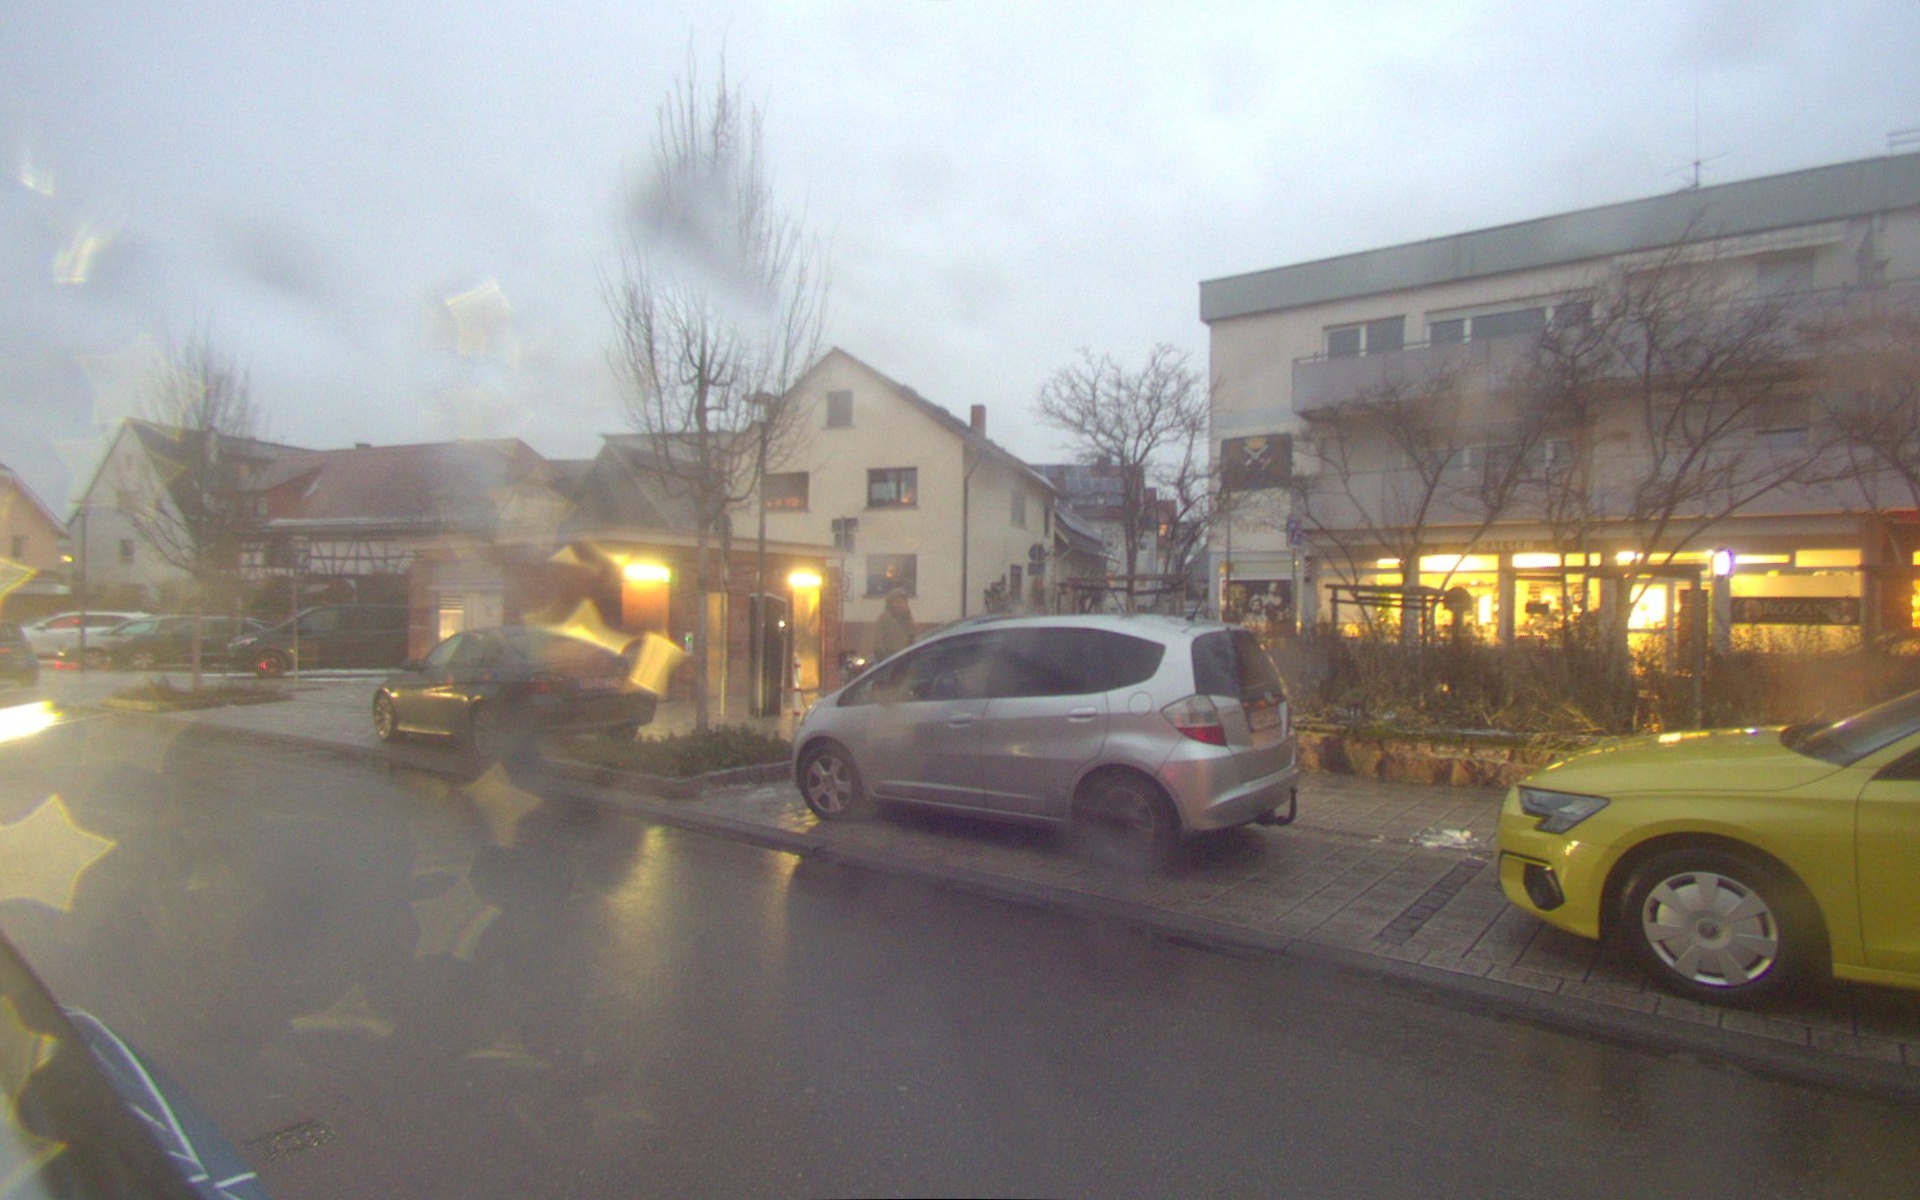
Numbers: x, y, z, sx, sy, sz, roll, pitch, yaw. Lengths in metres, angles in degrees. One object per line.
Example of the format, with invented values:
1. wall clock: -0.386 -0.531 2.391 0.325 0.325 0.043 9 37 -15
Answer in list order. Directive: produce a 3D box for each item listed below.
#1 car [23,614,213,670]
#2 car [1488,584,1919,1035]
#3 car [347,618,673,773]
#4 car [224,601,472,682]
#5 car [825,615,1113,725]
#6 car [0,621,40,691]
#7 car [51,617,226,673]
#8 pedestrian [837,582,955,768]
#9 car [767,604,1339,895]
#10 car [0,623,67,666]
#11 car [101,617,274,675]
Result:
1. car: -27.236 1.327 32.889 4.583 1.666 1.991 2 -2 -41
2. car: 4.458 0.694 3.531 4.341 1.528 1.730 -1 0 42
3. car: -5.463 0.976 12.015 4.454 1.483 1.729 -1 0 39
4. car: -15.797 1.089 26.356 5.307 1.900 2.079 2 -3 -34
5. car: 0.151 1.025 15.380 4.018 1.488 1.745 2 -3 -26
6. car: -23.044 1.274 23.161 3.658 1.547 1.822 -1 -1 28
7. car: -25.118 1.369 31.052 4.049 1.594 1.723 2 -3 -41
8. pedestrian: -0.690 0.770 10.895 1.060 1.881 0.746 -1 -2 41
9. car: 0.518 0.827 7.227 3.768 1.528 1.676 -1 0 38
10. car: -33.939 1.553 35.321 1.758 1.470 4.015 -1 -2 44
11. car: -22.545 1.301 29.706 3.934 1.541 2.004 0 -1 -37
